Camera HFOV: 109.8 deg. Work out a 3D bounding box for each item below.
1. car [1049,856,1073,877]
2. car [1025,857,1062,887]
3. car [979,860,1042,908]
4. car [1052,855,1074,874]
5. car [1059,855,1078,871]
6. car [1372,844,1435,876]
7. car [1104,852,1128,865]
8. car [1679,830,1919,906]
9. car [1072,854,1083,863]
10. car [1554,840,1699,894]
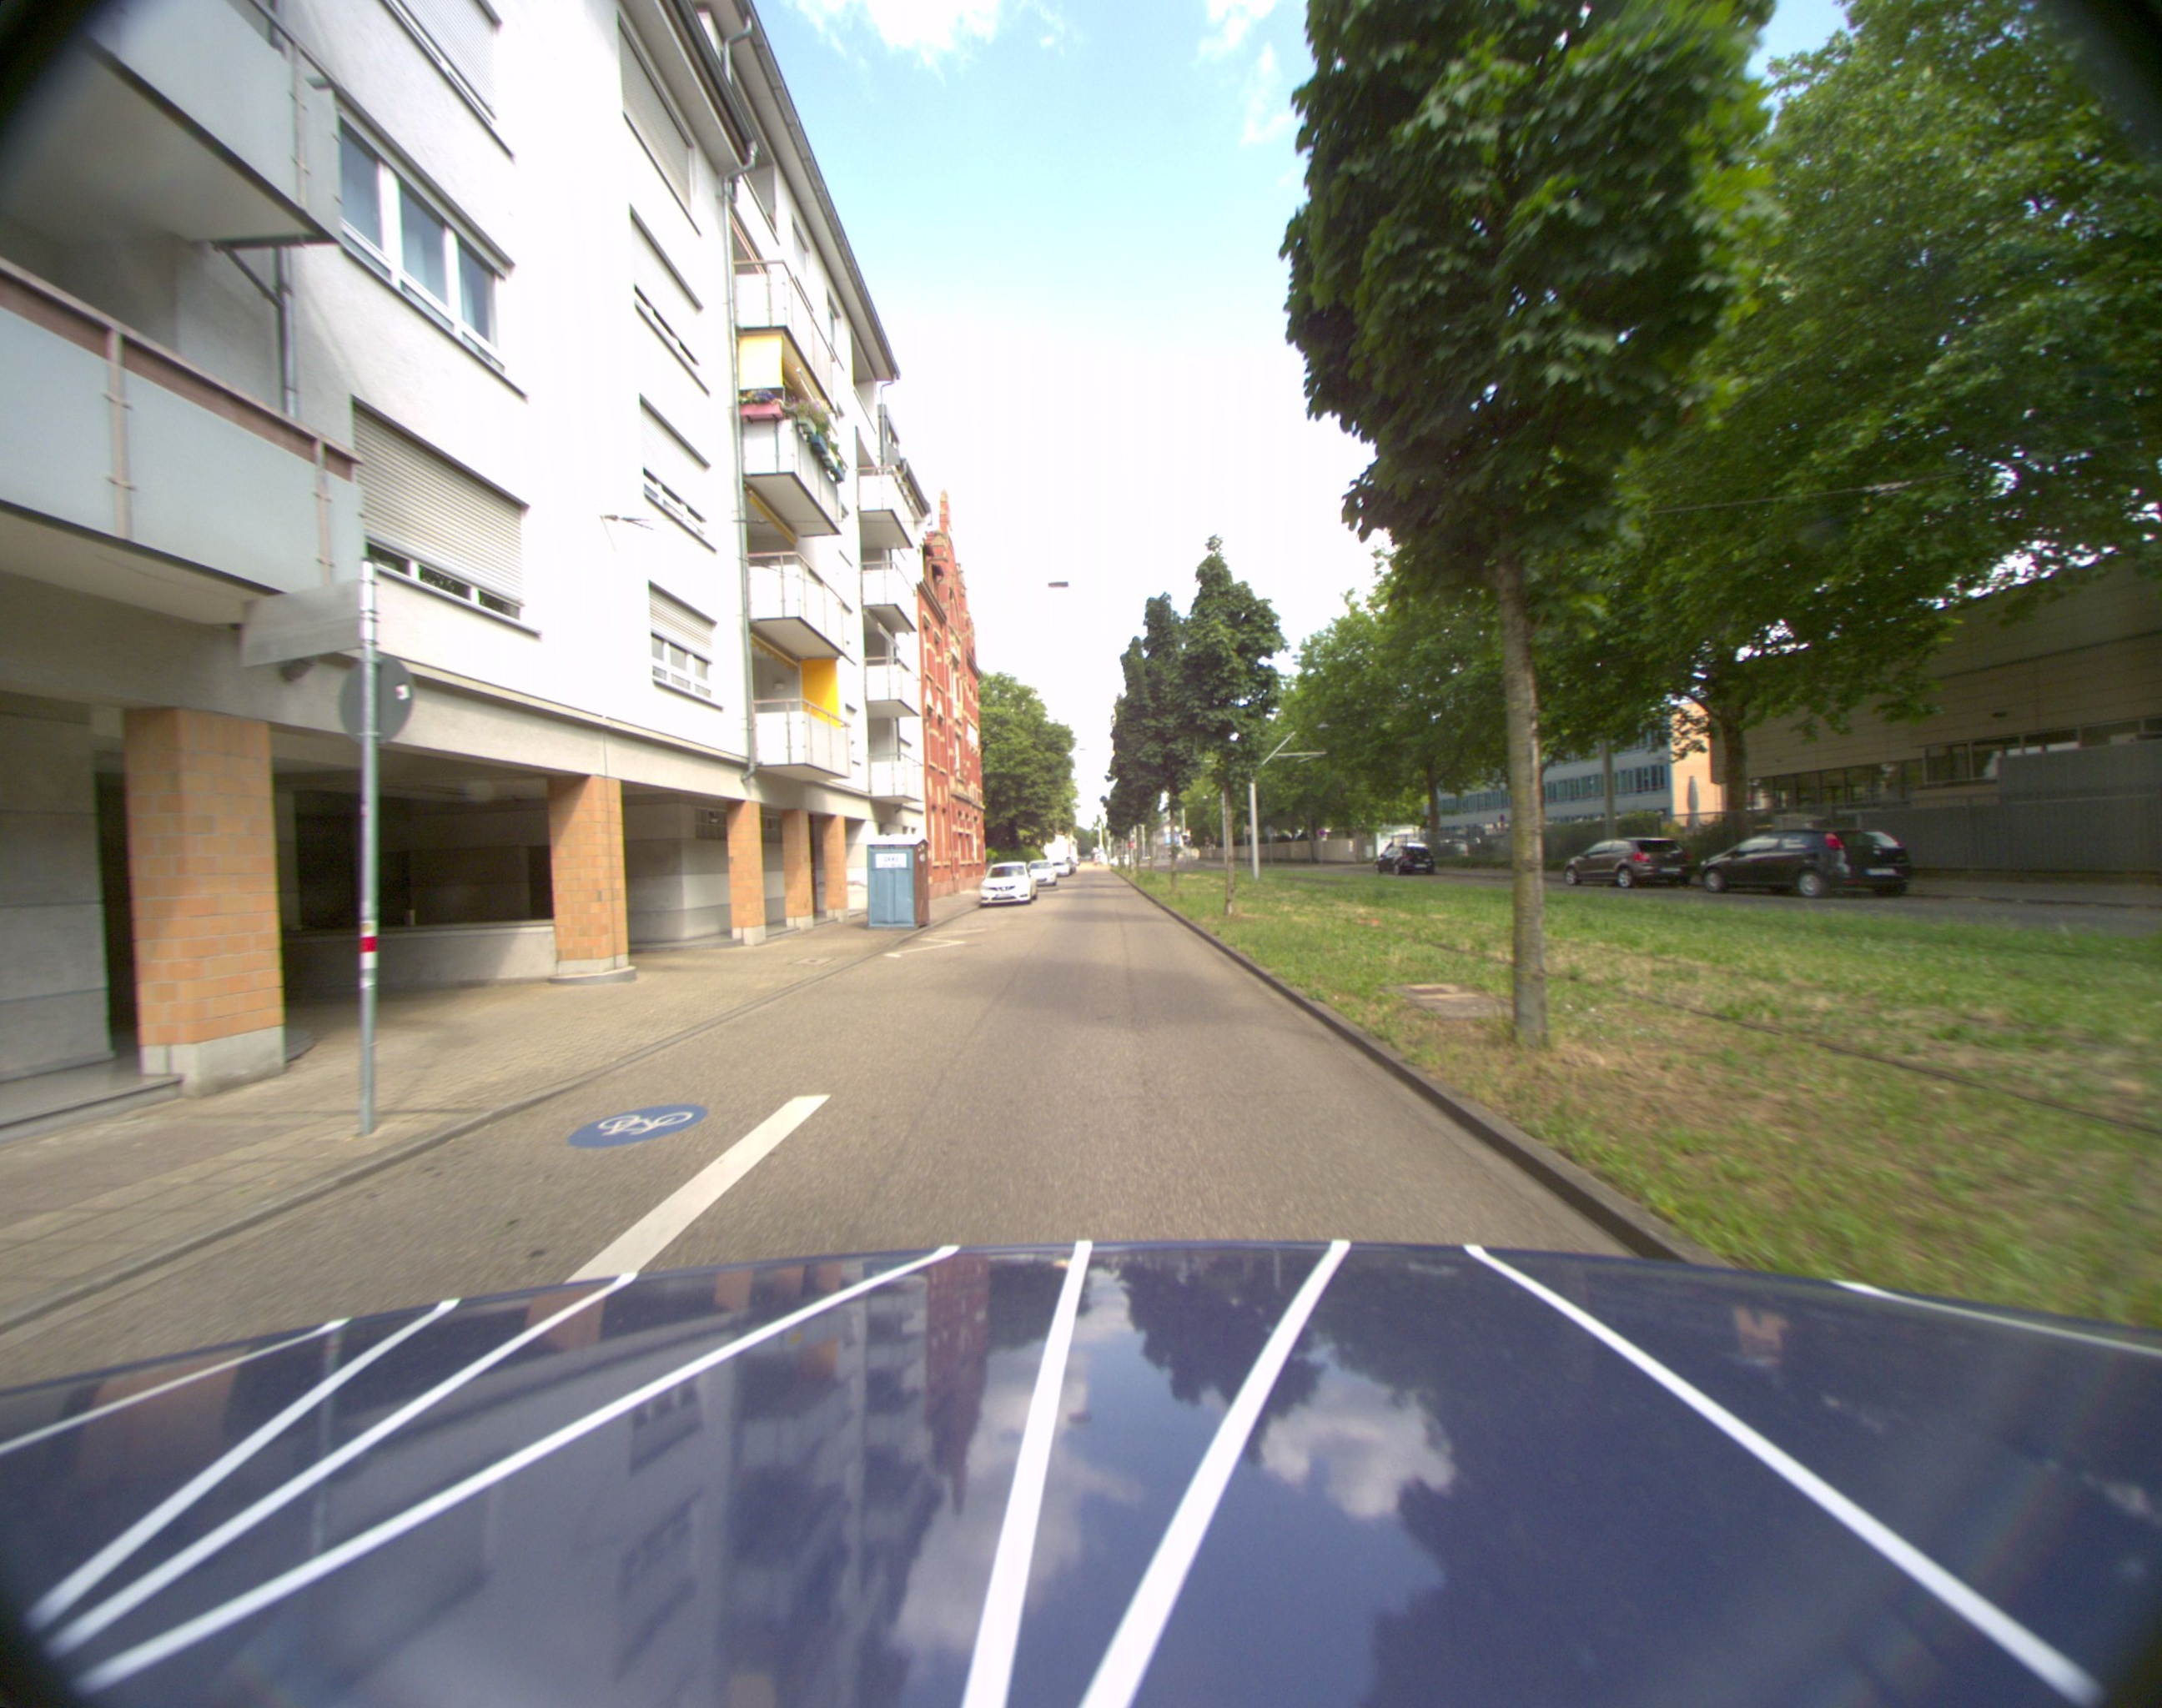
[{"bbox_3d":[-1.698,1.052,65.577,1.801,1.521,4.041,-5,0,1],"label":"car"},{"bbox_3d":[-2.112,1.024,43.894,1.801,1.521,4.041,-4,0,1],"label":"car"},{"bbox_3d":[-2.492,1.034,27.833,1.801,1.521,4.041,-3,0,1],"label":"car"},{"bbox_3d":[-1.631,0.976,71.832,1.801,1.521,4.041,-5,0,1],"label":"car"},{"bbox_3d":[-1.340,0.987,82.703,1.801,1.521,4.041,-5,0,1],"label":"car"},{"bbox_3d":[16.285,0.292,38.545,1.601,1.455,4.001,-2,0,3],"label":"car"},{"bbox_3d":[4.826,0.599,105.057,1.798,1.521,4.047,-3,0,24],"label":"car"},{"bbox_3d":[15.979,0.277,17.242,1.807,1.444,4.001,-2,0,4],"label":"car"},{"bbox_3d":[-0.648,0.780,140.913,1.801,1.521,4.041,-5,0,1],"label":"car"},{"bbox_3d":[16.131,0.358,22.725,1.558,1.417,3.902,-2,0,1],"label":"car"}]
